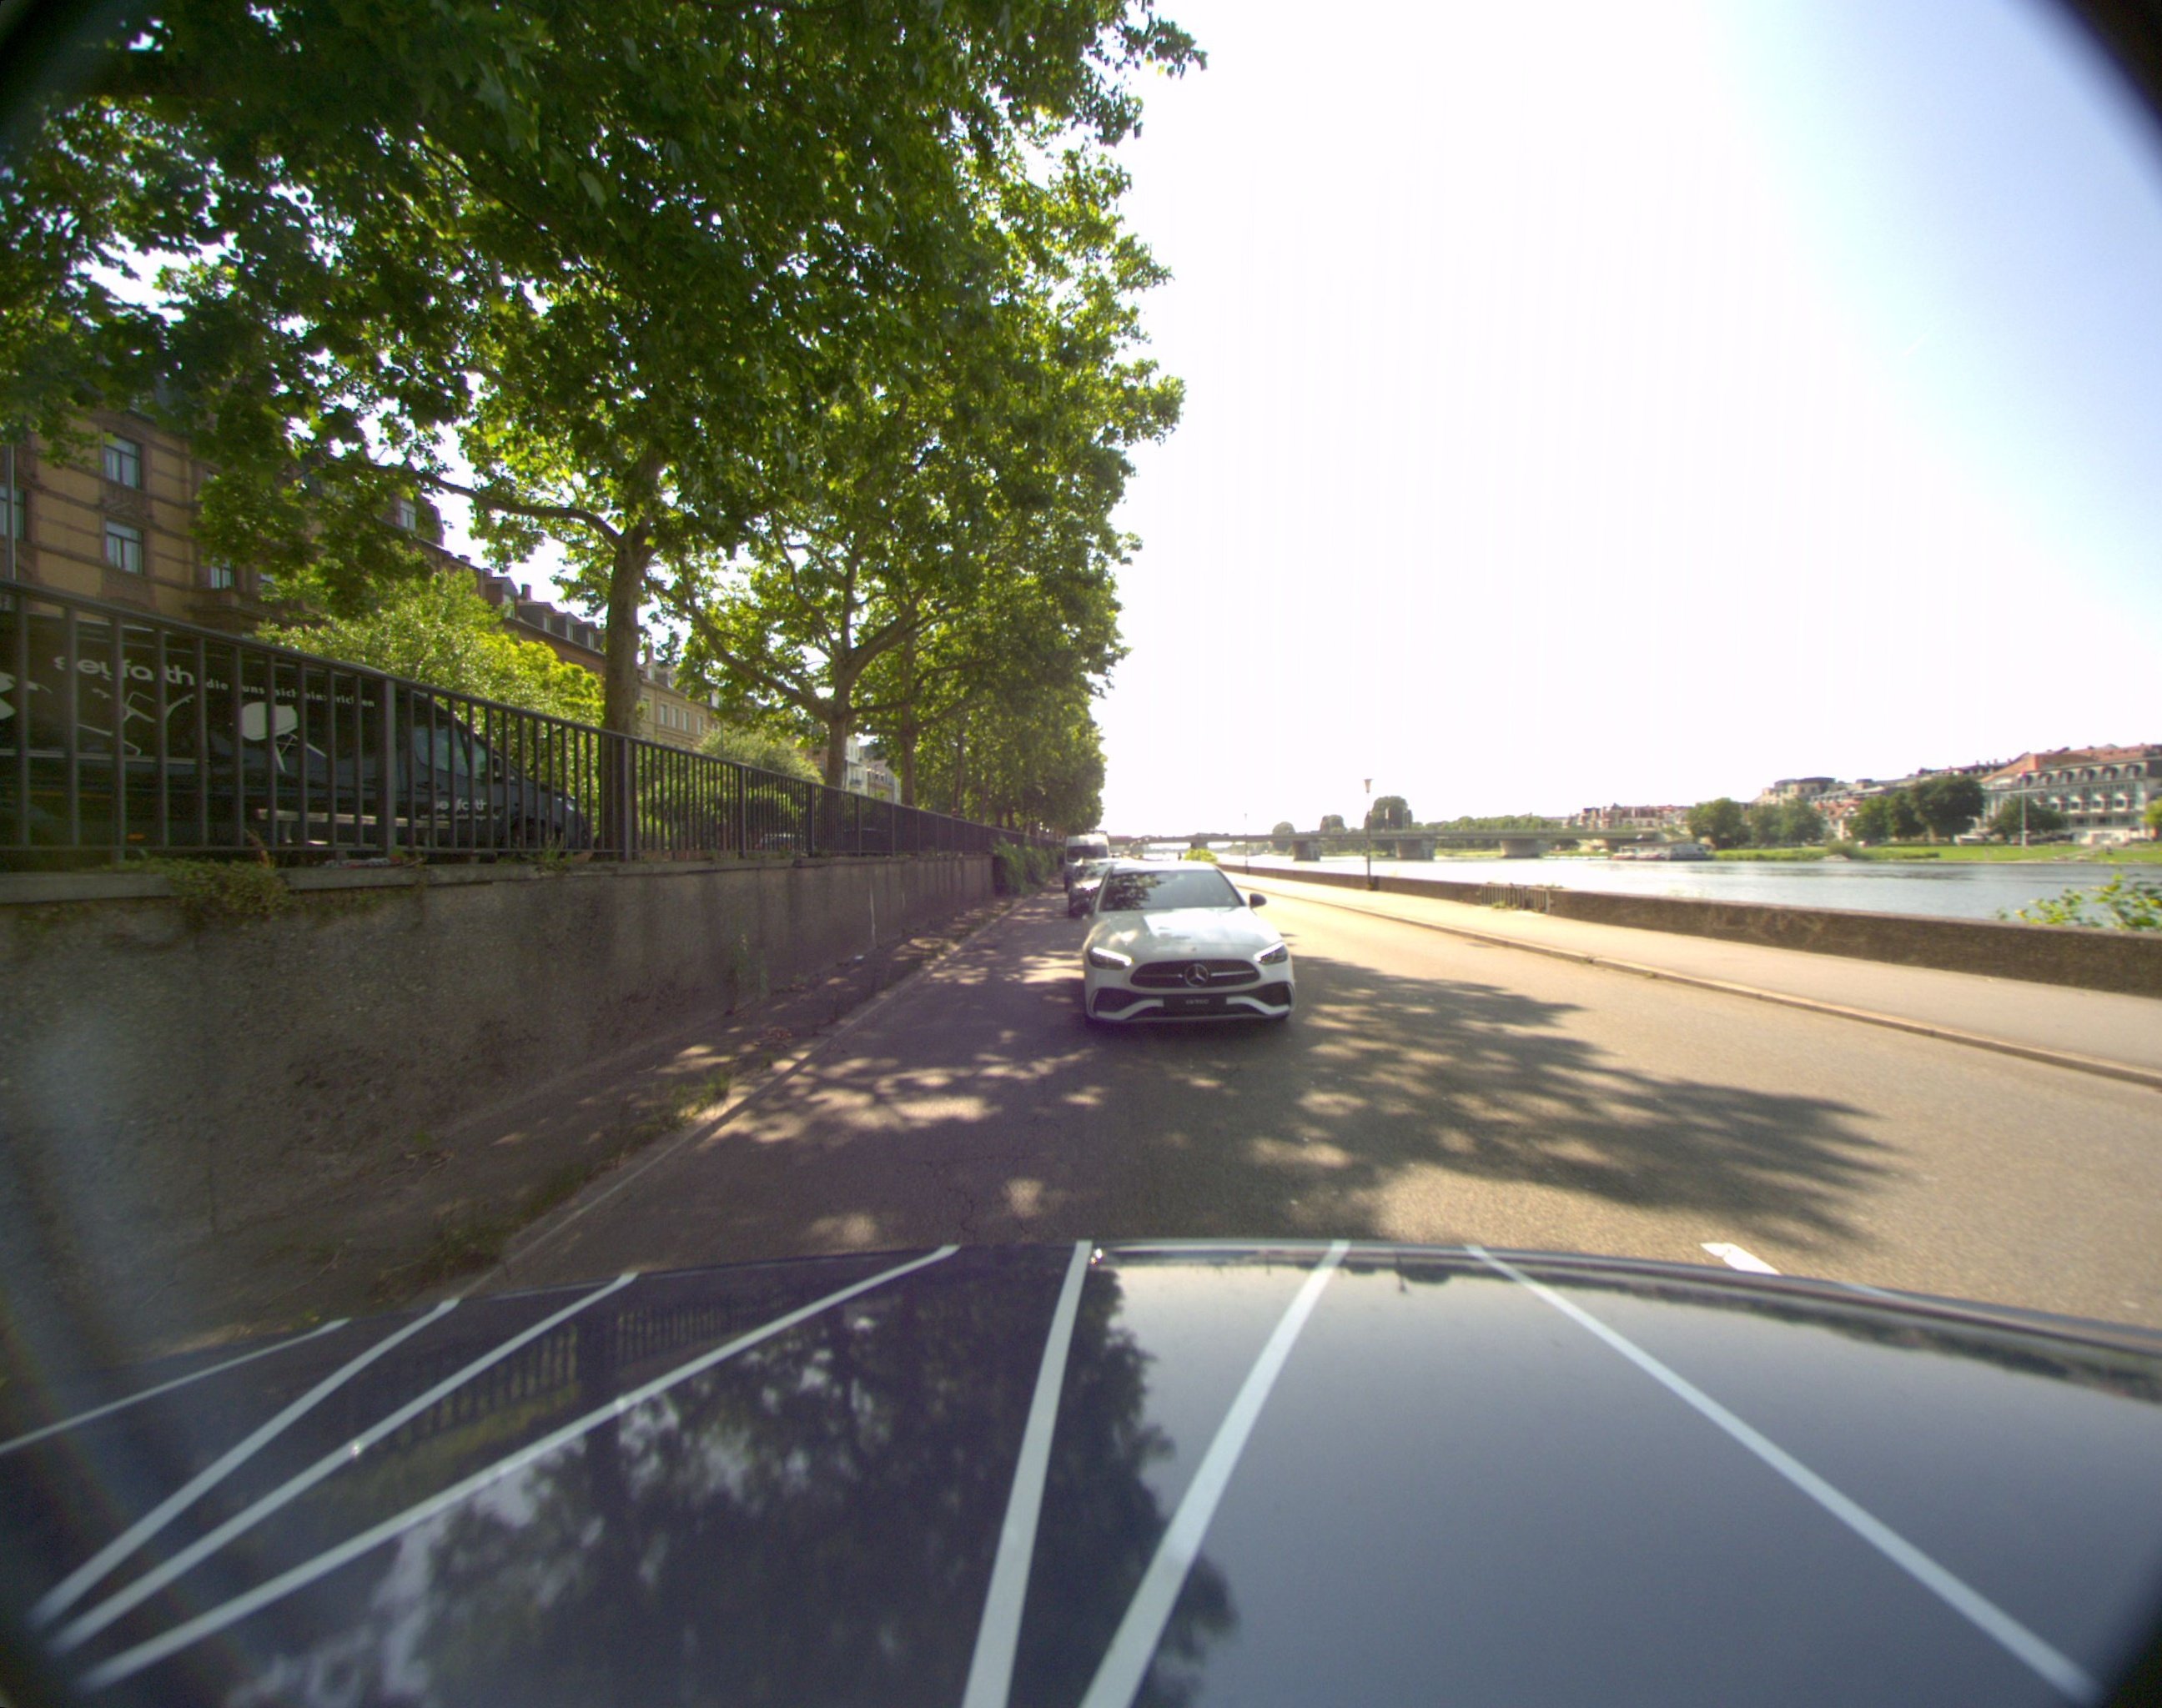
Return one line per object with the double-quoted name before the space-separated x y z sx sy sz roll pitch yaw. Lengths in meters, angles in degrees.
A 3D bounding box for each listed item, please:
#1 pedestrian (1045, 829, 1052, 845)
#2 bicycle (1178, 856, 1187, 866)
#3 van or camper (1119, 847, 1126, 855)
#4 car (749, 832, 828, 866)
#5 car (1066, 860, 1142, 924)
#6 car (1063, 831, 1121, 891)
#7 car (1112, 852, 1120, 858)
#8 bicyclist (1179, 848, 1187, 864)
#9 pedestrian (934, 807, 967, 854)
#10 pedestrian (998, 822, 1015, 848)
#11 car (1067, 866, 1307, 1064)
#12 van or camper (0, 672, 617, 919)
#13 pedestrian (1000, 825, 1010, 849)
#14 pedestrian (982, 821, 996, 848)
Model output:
"pedestrian" -3.186 -1.679 74.667 0.666 1.582 0.651 0 1 0
"bicycle" 10.190 0.672 76.000 0.634 1.006 1.986 -1 0 0
"van or camper" 13.140 -0.962 241.067 2.082 2.384 5.385 2 0 1
"car" -13.891 -0.222 36.365 1.841 1.504 4.429 1 0 3
"car" 0.554 0.915 20.259 1.756 1.385 4.619 -2 0 0
"car" 0.469 0.281 34.223 2.351 2.429 6.208 -1 0 0
"car" 8.678 0.147 188.090 1.736 1.433 4.045 0 0 0
"bicyclist" 10.189 0.196 76.015 0.639 1.664 0.871 -1 1 0
"pedestrian" -4.474 -0.803 26.194 0.939 1.570 1.027 2 1 -1
"pedestrian" -3.903 -0.992 39.780 0.755 1.358 0.814 2 1 -1
"car" 0.876 0.904 8.206 1.830 1.411 4.552 -2 0 1
"van or camper" -9.748 -0.533 8.546 2.339 2.171 7.368 -3 1 30
"pedestrian" -5.274 -1.195 52.545 0.649 1.630 0.626 -1 1 -7
"pedestrian" -4.839 -1.032 40.068 0.645 1.358 0.794 2 1 -1
